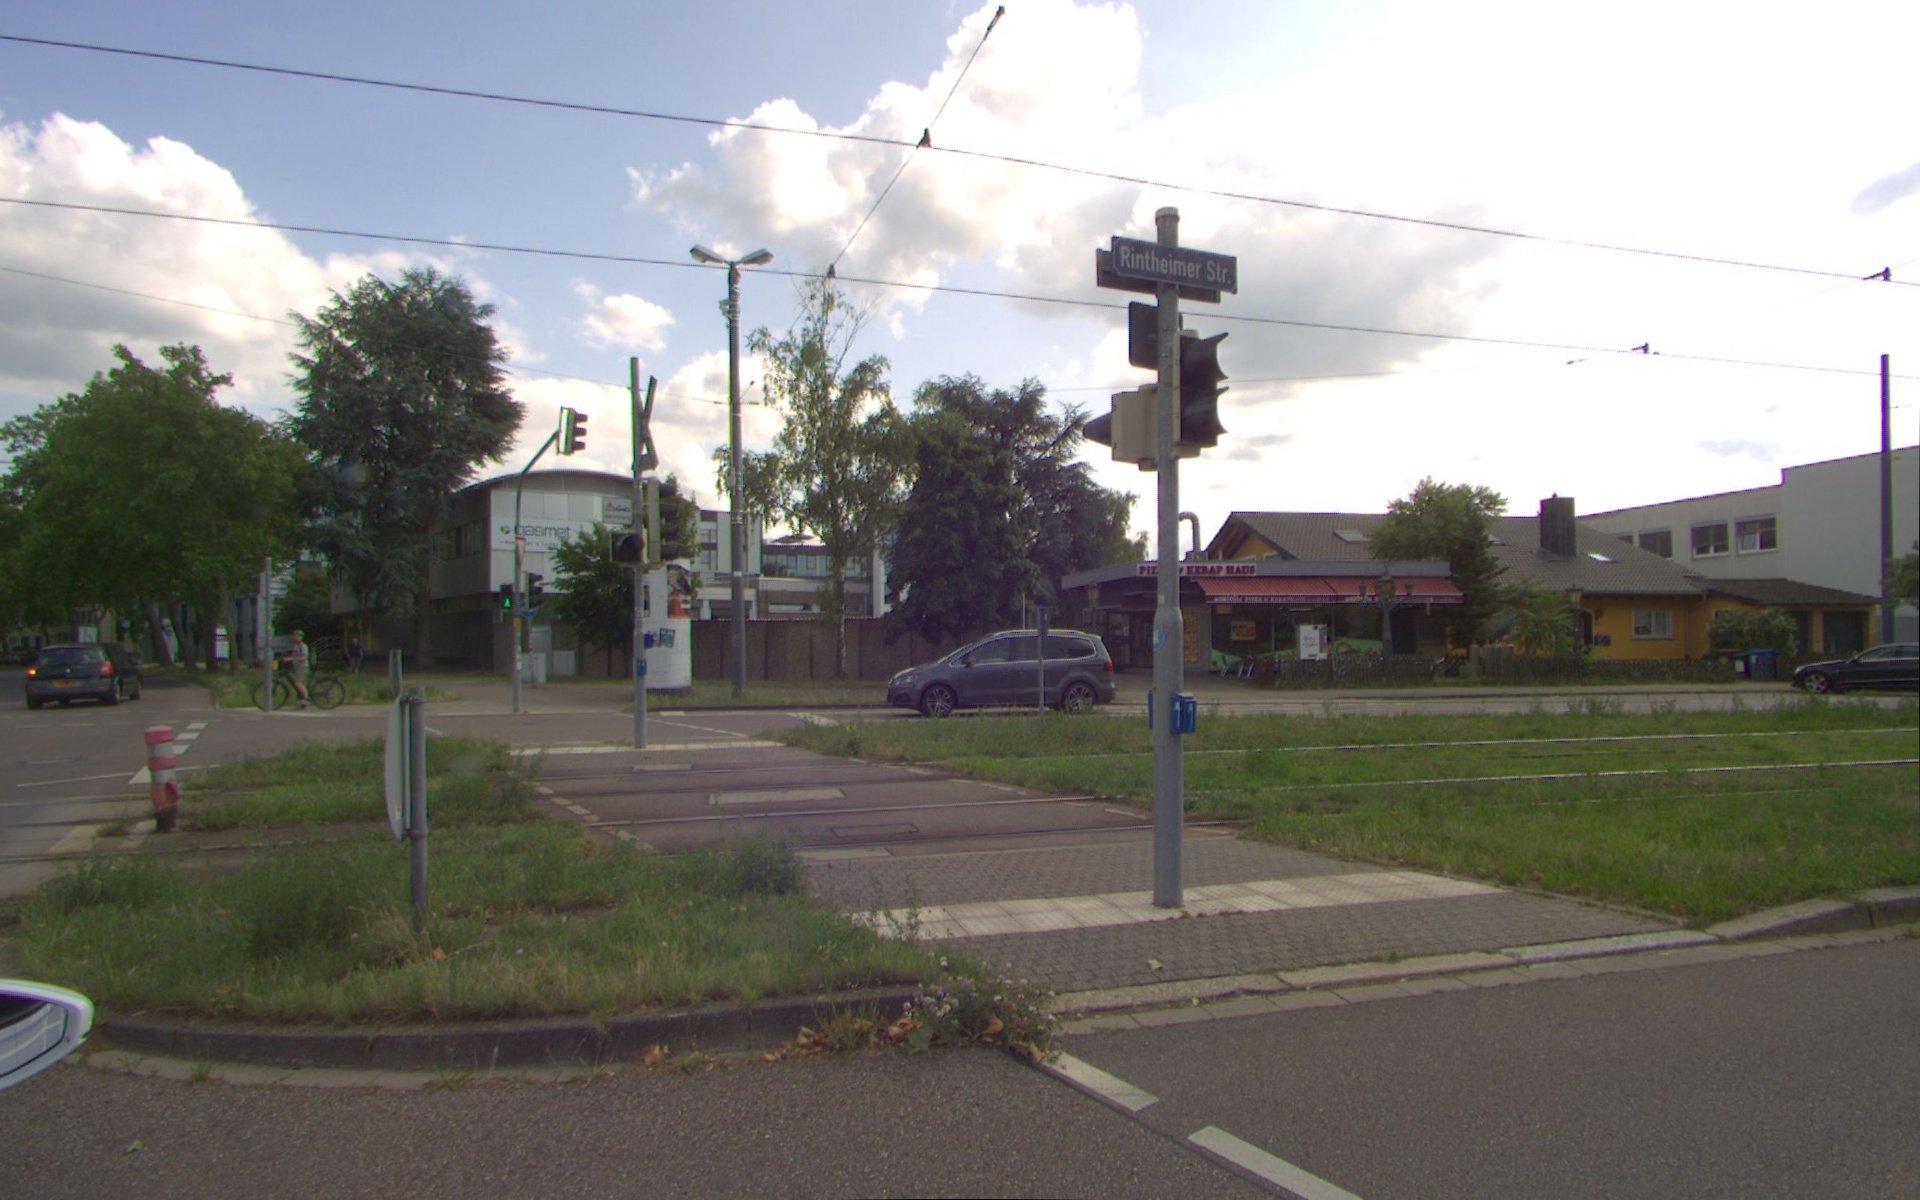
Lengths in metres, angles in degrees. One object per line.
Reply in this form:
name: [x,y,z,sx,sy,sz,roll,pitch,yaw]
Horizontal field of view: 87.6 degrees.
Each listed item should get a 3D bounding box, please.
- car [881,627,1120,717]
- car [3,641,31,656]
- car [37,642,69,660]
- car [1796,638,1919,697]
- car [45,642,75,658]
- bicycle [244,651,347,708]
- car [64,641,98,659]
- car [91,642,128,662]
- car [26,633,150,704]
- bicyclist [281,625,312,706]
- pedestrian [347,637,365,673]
car: [0.768,1.447,20.815,4.651,1.743,2.000,0,-2,-9]
car: [-111.447,5.714,118.340,3.954,1.595,1.984,0,0,41]
car: [-91.565,5.123,101.037,3.954,1.595,1.984,0,0,41]
car: [26.503,1.858,27.853,1.971,1.599,4.559,1,-3,-30]
car: [-98.441,5.427,109.516,3.954,1.595,1.984,0,0,41]
bicycle: [-15.249,1.806,23.025,1.923,1.252,0.538,1,0,-29]
car: [-84.601,4.801,96.412,3.954,1.595,1.984,0,0,41]
car: [-75.573,4.617,88.992,3.954,1.595,1.984,0,0,41]
car: [-22.726,1.750,26.247,1.711,1.651,4.032,-1,-2,-31]
bicyclist: [-15.244,1.496,23.019,0.537,1.833,0.538,1,0,-28]
pedestrian: [-26.784,2.429,44.403,0.615,1.590,0.555,0,0,-38]
